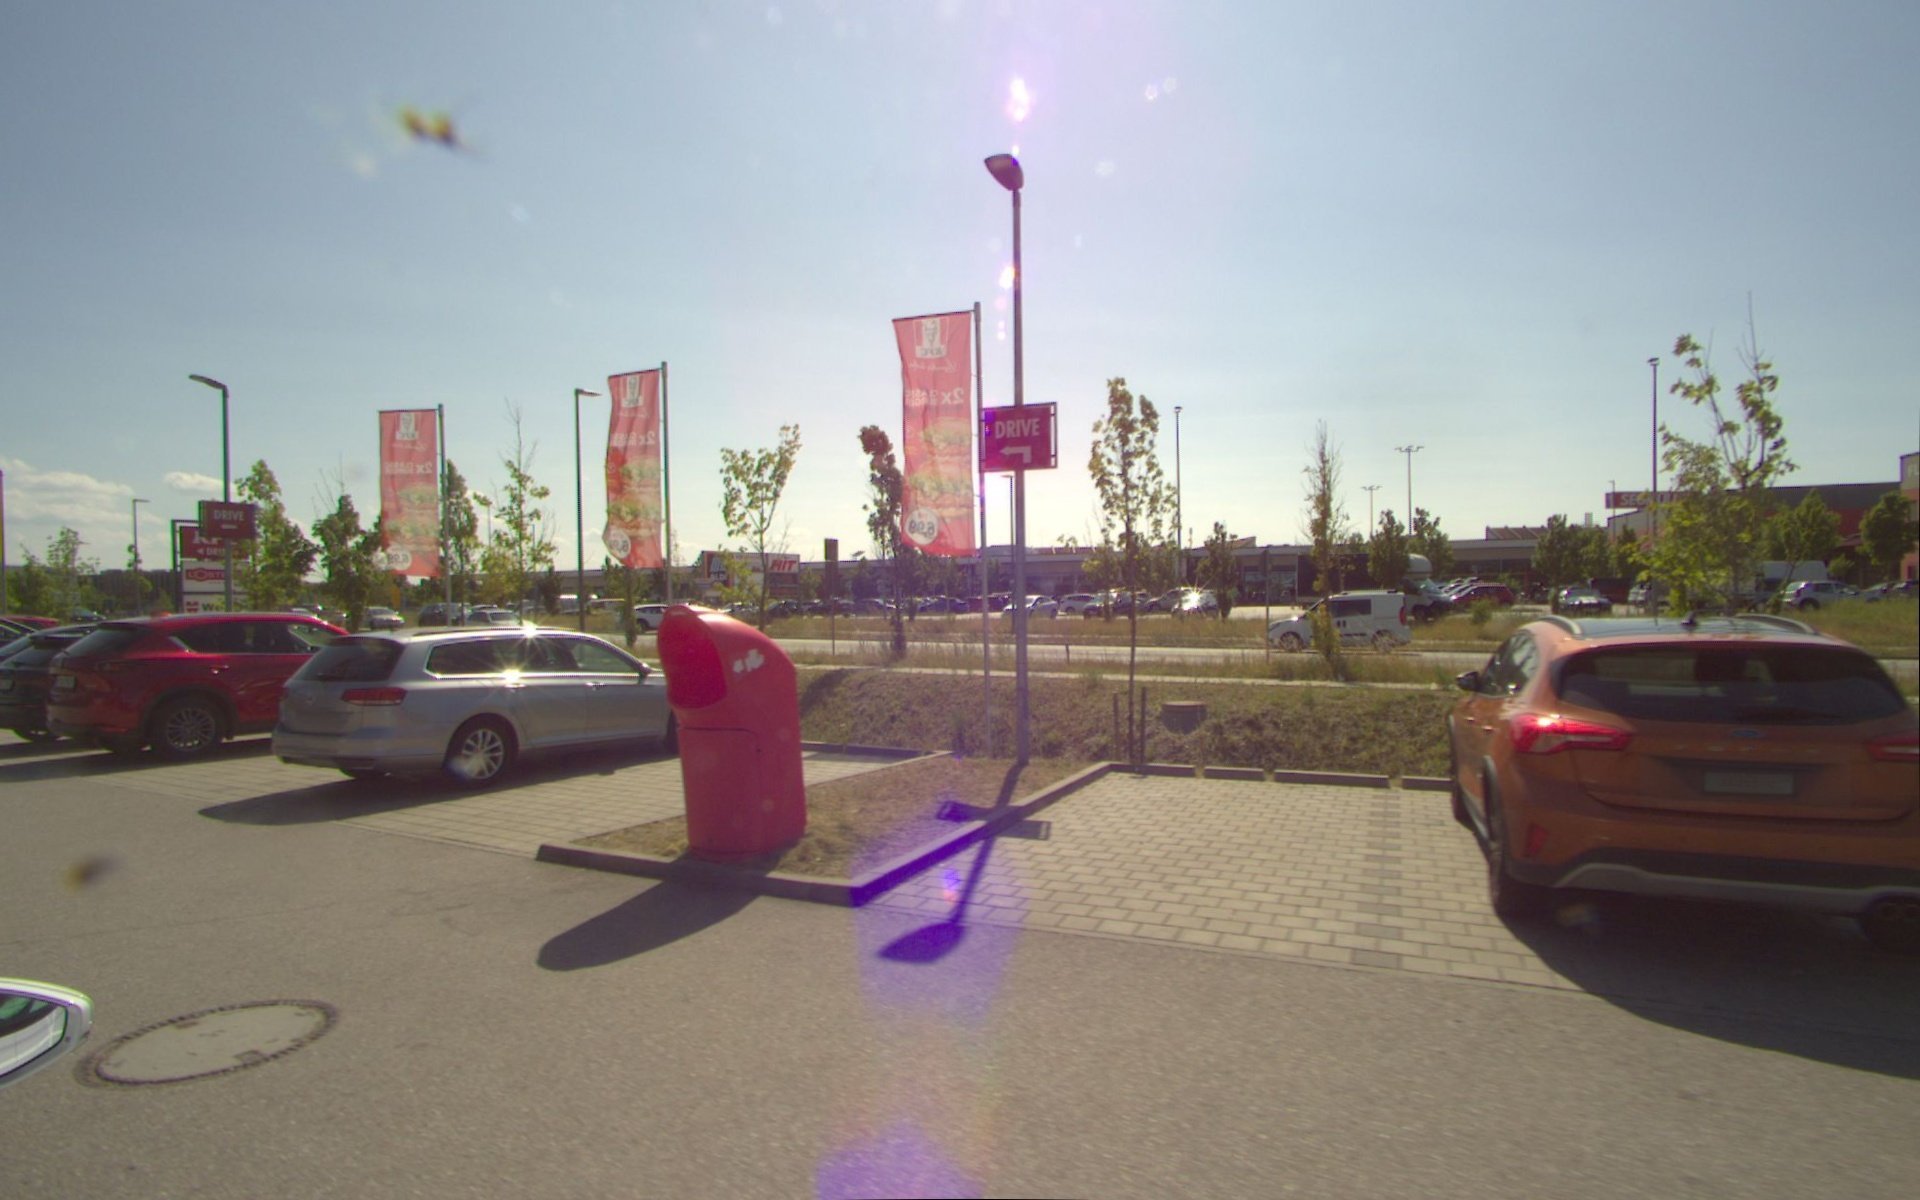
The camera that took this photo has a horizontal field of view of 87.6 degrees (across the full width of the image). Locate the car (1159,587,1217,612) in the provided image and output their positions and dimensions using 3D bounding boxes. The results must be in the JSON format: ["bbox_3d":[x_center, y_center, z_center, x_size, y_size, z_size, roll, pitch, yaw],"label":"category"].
[{"bbox_3d":[17.772,-0.033,77.972,4.324,1.880,1.953,0,0,17],"label":"car"}]

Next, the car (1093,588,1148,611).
[{"bbox_3d":[13.297,-0.045,83.018,4.324,1.880,1.953,0,0,17],"label":"car"}]

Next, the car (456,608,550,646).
[{"bbox_3d":[-20.200,1.169,44.199,4.600,1.547,1.985,0,0,39],"label":"car"}]

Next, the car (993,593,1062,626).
[{"bbox_3d":[4.028,0.519,59.011,1.976,1.880,4.253,1,0,40],"label":"car"}]

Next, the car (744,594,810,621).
[{"bbox_3d":[-13.367,0.522,73.239,1.974,1.870,4.701,1,0,37],"label":"car"}]

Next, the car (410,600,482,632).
[{"bbox_3d":[-28.896,0.866,56.231,4.544,1.686,1.866,0,0,37],"label":"car"}]

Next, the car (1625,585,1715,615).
[{"bbox_3d":[46.174,0.008,65.204,4.324,1.880,2.045,0,0,17],"label":"car"}]

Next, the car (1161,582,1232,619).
[{"bbox_3d":[12.504,0.013,52.873,1.932,1.880,4.371,1,0,40],"label":"car"}]

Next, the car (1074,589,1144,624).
[{"bbox_3d":[8.398,0.364,56.289,1.932,1.880,4.371,1,0,40],"label":"car"}]

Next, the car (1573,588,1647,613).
[{"bbox_3d":[49.755,0.056,76.707,4.324,1.880,1.953,0,0,17],"label":"car"}]

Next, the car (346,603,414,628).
[{"bbox_3d":[-36.462,0.950,62.905,4.595,1.524,1.987,0,0,36],"label":"car"}]

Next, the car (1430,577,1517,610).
[{"bbox_3d":[29.668,-0.373,58.005,4.190,1.880,1.867,0,1,17],"label":"car"}]

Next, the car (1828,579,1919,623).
[{"bbox_3d":[41.416,0.041,44.101,4.324,1.880,1.953,0,0,17],"label":"car"}]

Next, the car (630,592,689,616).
[{"bbox_3d":[-25.854,0.355,86.393,1.968,2.040,5.161,0,0,26],"label":"car"}]

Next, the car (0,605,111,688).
[{"bbox_3d":[-20.836,0.972,20.972,1.866,1.725,4.315,0,-1,29],"label":"car"}]

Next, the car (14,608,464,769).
[{"bbox_3d":[-8.790,0.951,12.635,1.921,1.659,4.214,0,-1,29],"label":"car"}]

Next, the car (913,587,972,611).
[{"bbox_3d":[-1.424,-0.085,81.879,4.490,1.880,1.953,0,0,17],"label":"car"}]

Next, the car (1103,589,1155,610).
[{"bbox_3d":[14.900,-0.042,88.158,4.323,1.880,1.953,0,0,14],"label":"car"}]

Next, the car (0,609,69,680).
[{"bbox_3d":[-23.318,1.016,22.928,1.870,1.630,4.056,0,-1,36],"label":"car"}]

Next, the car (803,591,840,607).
[{"bbox_3d":[-14.546,-0.110,105.209,3.410,1.573,1.665,0,0,11],"label":"car"}]

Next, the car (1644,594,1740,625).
[{"bbox_3d":[44.825,0.563,61.426,4.324,1.880,1.953,0,0,17],"label":"car"}]

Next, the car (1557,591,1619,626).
[{"bbox_3d":[28.259,0.361,45.161,1.626,1.479,3.957,0,0,21],"label":"car"}]

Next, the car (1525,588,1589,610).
[{"bbox_3d":[51.732,-0.069,86.853,4.324,1.880,1.953,0,0,17],"label":"car"}]

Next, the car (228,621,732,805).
[{"bbox_3d":[-4.547,0.943,10.329,1.714,1.431,4.583,0,-1,29],"label":"car"}]

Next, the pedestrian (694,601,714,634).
[{"bbox_3d":[-12.818,0.884,50.201,0.748,1.621,0.686,1,1,42],"label":"pedestrian"}]

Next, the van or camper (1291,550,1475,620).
[{"bbox_3d":[20.214,-0.674,48.307,2.392,3.143,7.987,0,0,-40],"label":"van or camper"}]

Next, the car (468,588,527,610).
[{"bbox_3d":[-44.488,-0.113,96.495,1.968,2.040,5.058,0,0,26],"label":"car"}]

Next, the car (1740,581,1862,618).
[{"bbox_3d":[43.310,-0.028,51.682,4.324,1.880,1.953,0,0,17],"label":"car"}]

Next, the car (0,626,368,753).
[{"bbox_3d":[-10.786,1.096,13.889,1.745,1.428,4.192,0,-1,26],"label":"car"}]

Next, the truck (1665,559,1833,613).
[{"bbox_3d":[42.963,-0.756,54.766,6.930,2.852,1.952,0,1,17],"label":"truck"}]

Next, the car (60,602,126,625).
[{"bbox_3d":[-67.503,1.055,77.947,4.678,1.756,1.995,0,0,23],"label":"car"}]

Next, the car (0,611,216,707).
[{"bbox_3d":[-16.791,1.033,18.610,1.870,1.659,4.423,0,-1,36],"label":"car"}]

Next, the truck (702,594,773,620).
[{"bbox_3d":[-17.036,0.504,76.800,1.973,1.888,5.398,0,0,36],"label":"truck"}]

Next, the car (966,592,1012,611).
[{"bbox_3d":[2.916,0.184,101.755,4.324,1.880,1.953,0,0,17],"label":"car"}]

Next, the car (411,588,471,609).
[{"bbox_3d":[-50.684,-0.156,97.896,1.968,2.040,5.058,0,0,26],"label":"car"}]

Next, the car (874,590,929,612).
[{"bbox_3d":[-5.475,0.096,94.372,4.839,2.040,2.080,0,0,12],"label":"car"}]

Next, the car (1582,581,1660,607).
[{"bbox_3d":[48.371,-0.446,73.397,4.324,1.880,1.953,0,0,17],"label":"car"}]

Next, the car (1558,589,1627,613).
[{"bbox_3d":[51.047,0.059,80.905,4.324,1.880,1.953,0,0,17],"label":"car"}]

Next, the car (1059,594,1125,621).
[{"bbox_3d":[9.286,0.531,70.451,4.324,1.880,1.953,0,0,17],"label":"car"}]

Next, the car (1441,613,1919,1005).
[{"bbox_3d":[4.015,0.846,6.004,1.802,1.488,4.342,0,-1,23],"label":"car"}]

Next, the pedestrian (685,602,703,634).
[{"bbox_3d":[-13.477,0.897,50.765,0.659,1.577,0.620,1,1,42],"label":"pedestrian"}]

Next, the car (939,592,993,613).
[{"bbox_3d":[0.566,0.193,89.472,4.490,1.880,1.953,0,0,17],"label":"car"}]

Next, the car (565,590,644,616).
[{"bbox_3d":[-31.031,0.252,87.711,2.774,2.267,6.283,0,0,29],"label":"car"}]

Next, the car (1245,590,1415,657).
[{"bbox_3d":[11.608,0.698,31.473,4.818,1.980,1.871,0,1,28],"label":"car"}]

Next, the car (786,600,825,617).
[{"bbox_3d":[-15.043,0.813,97.429,3.410,1.573,1.665,0,0,11],"label":"car"}]

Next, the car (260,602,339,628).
[{"bbox_3d":[-39.638,0.876,60.097,4.583,1.547,1.992,0,0,27],"label":"car"}]

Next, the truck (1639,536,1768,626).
[{"bbox_3d":[31.738,-0.749,43.084,2.721,3.527,6.815,0,0,22],"label":"truck"}]

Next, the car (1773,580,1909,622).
[{"bbox_3d":[41.245,0.040,47.008,4.324,1.880,1.953,0,0,17],"label":"car"}]

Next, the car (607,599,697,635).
[{"bbox_3d":[-16.630,0.873,54.103,4.342,1.870,1.990,0,0,-29],"label":"car"}]
